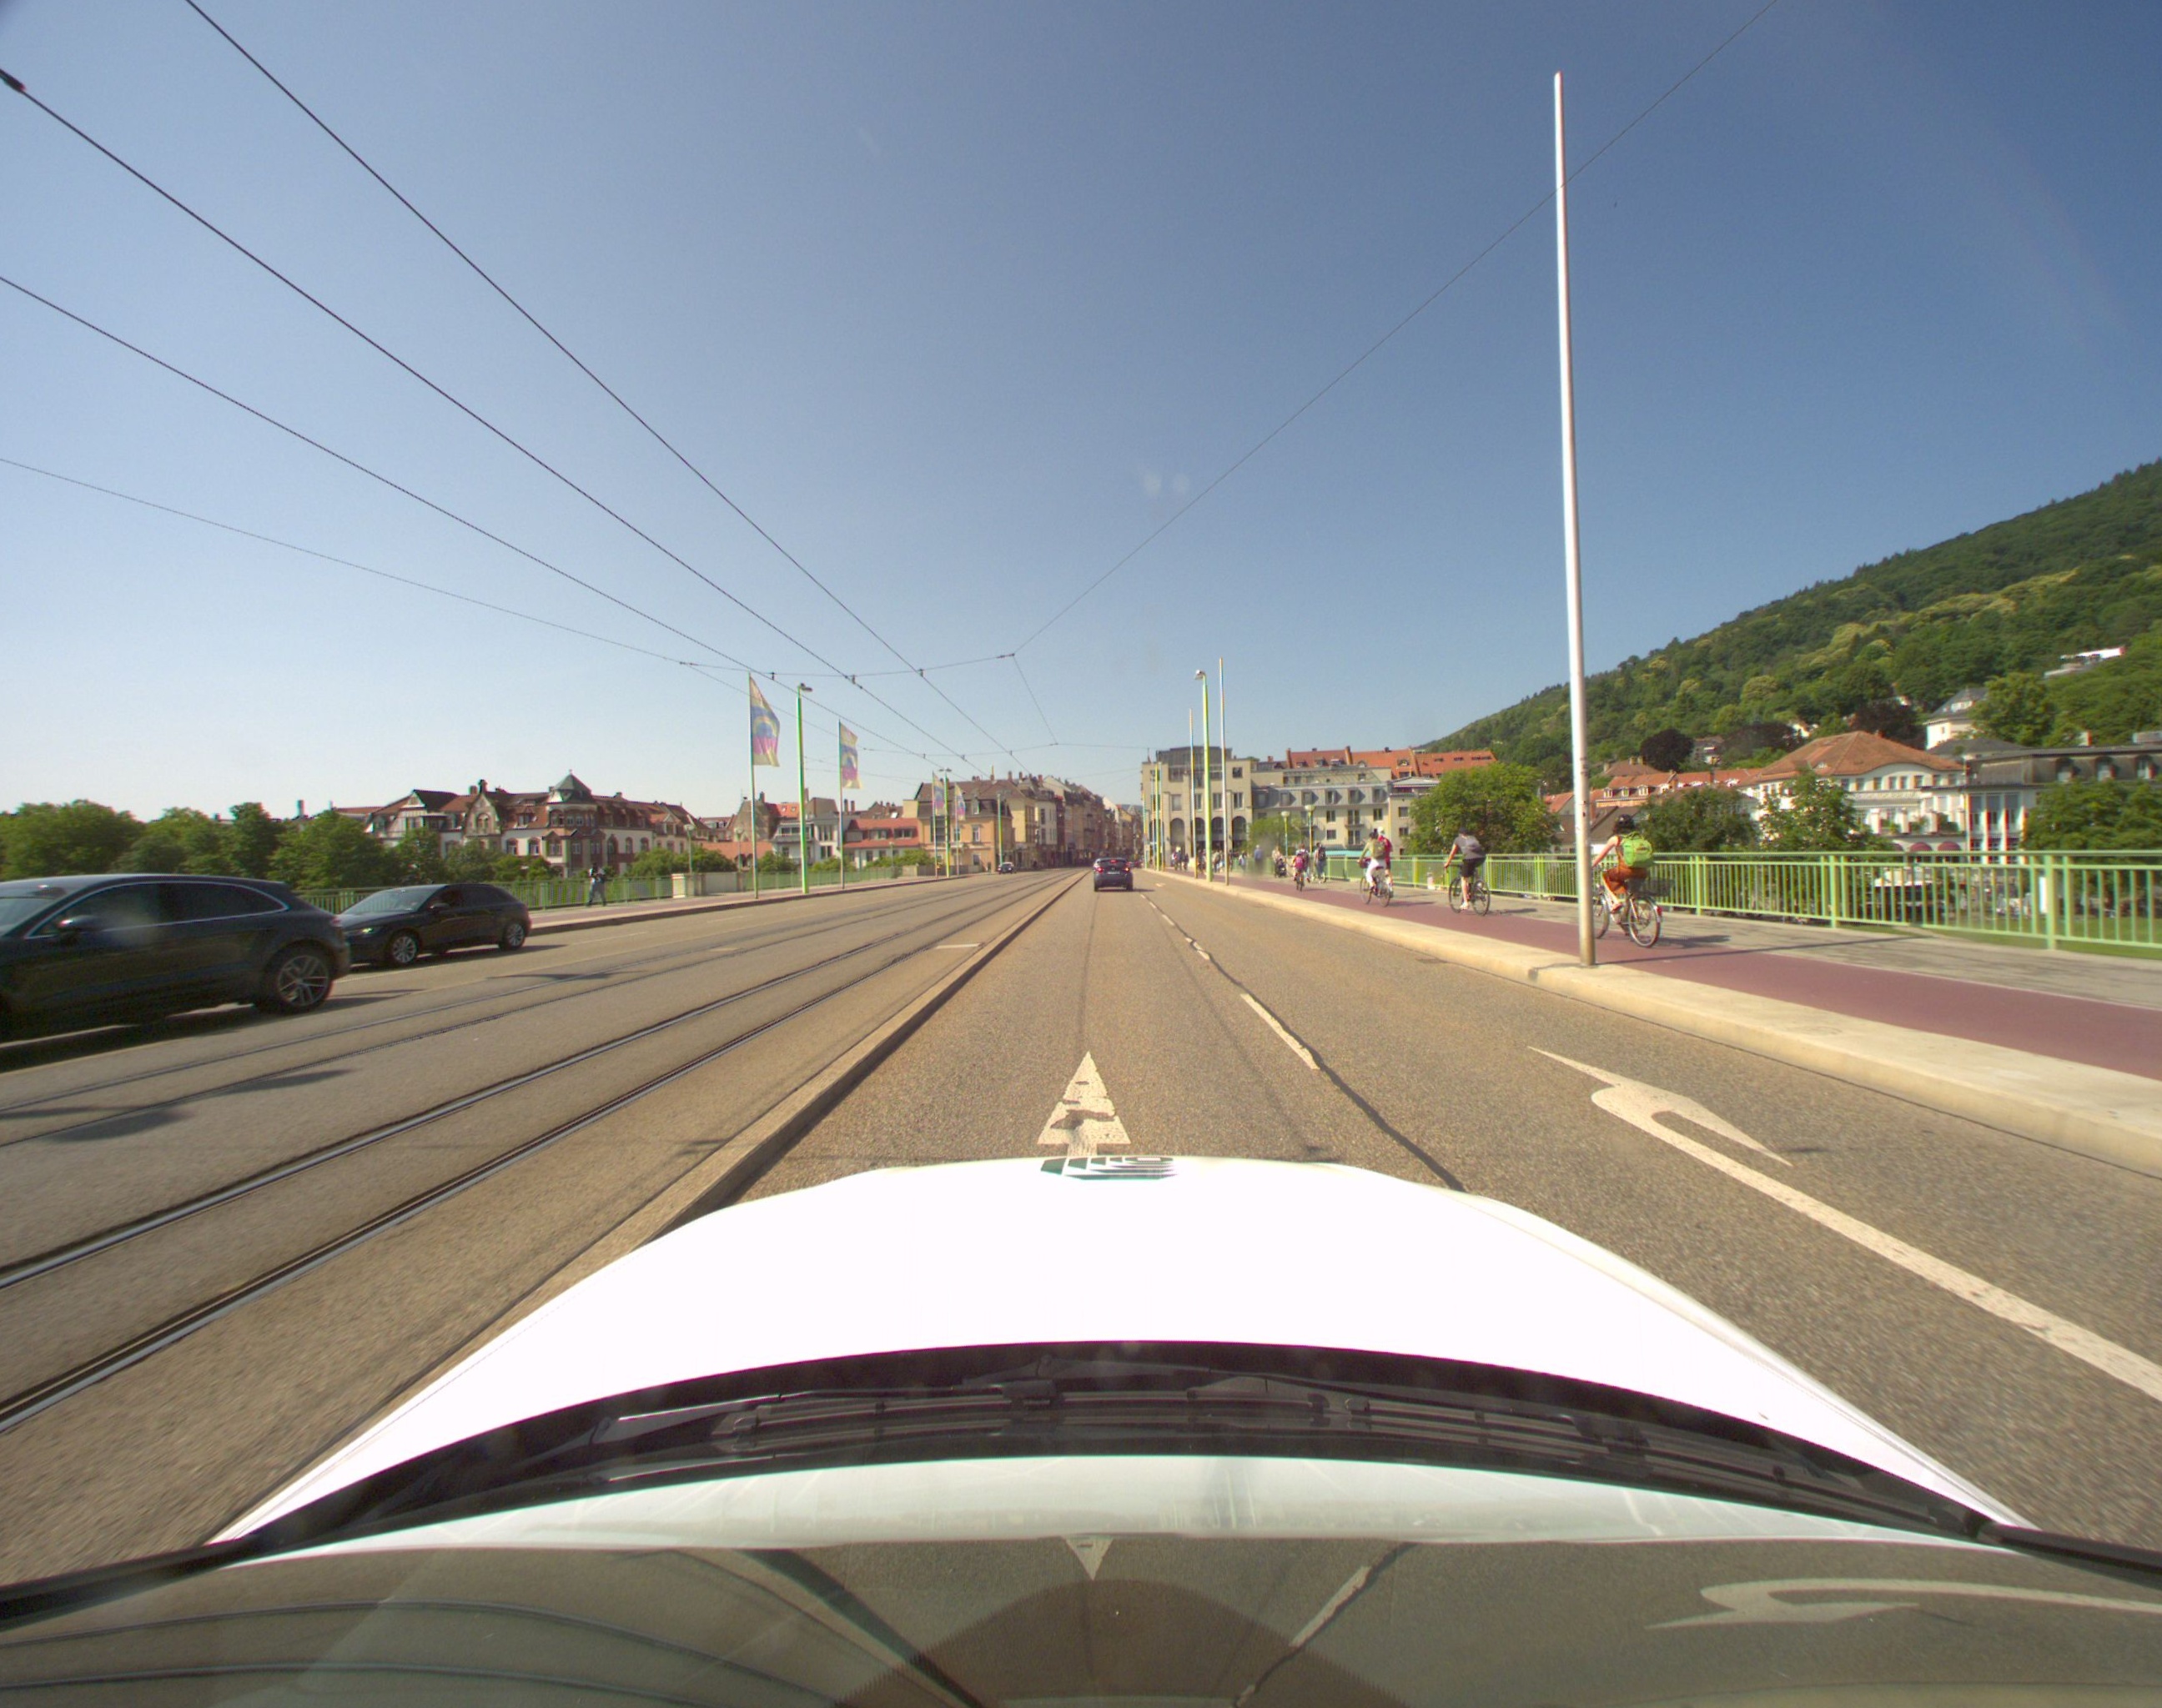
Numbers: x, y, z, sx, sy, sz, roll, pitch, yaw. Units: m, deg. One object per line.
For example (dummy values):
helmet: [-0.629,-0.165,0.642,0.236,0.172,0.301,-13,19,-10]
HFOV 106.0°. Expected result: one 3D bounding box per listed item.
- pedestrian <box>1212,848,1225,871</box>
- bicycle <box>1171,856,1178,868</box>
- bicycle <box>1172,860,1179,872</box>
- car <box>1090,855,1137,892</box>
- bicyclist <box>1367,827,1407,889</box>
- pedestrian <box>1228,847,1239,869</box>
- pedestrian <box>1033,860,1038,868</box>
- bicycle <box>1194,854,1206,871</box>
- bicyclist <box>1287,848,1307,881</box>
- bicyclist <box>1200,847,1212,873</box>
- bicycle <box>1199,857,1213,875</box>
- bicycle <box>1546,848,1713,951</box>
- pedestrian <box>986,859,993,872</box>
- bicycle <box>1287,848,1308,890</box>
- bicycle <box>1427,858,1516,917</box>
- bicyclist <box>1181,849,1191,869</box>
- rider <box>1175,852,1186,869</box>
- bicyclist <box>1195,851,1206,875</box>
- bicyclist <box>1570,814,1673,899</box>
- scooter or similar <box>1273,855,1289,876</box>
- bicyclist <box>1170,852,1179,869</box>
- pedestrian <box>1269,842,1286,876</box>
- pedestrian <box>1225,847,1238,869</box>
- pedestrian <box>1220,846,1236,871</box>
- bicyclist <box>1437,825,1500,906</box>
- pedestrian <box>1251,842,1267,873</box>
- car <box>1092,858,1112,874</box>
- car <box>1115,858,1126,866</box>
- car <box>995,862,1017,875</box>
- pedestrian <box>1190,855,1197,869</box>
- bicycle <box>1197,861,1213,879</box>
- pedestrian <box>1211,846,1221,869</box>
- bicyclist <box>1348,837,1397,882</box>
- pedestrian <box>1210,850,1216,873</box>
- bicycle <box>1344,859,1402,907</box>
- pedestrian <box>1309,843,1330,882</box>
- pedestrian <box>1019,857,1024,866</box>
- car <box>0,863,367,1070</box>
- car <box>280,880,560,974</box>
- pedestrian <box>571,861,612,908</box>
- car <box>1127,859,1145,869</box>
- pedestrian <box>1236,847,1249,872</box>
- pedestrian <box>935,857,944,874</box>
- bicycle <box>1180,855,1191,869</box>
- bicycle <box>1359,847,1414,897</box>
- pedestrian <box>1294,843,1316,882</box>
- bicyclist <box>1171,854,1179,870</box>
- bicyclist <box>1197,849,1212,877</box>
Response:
pedestrian: [10.260,0.424,60.692,0.831,1.689,0.869,-2,0,1]
bicycle: [9.392,0.797,81.815,0.663,1.178,2.031,-2,0,5]
bicycle: [9.103,1.144,78.534,0.663,1.049,2.031,-2,0,5]
car: [1.433,0.838,37.169,1.904,1.540,3.999,-1,1,-1]
bicyclist: [8.322,0.112,22.169,0.733,1.635,0.866,-2,0,-1]
pedestrian: [11.669,0.297,62.403,0.709,1.651,0.849,-2,0,3]
pedestrian: [-7.429,1.656,133.740,0.759,1.397,0.664,-2,0,3]
bicycle: [8.406,0.593,57.625,0.524,1.178,2.029,-2,0,0]
bicyclist: [7.386,0.342,27.877,0.595,1.101,0.855,-2,0,11]
bicyclist: [8.286,0.380,53.955,0.654,1.676,0.869,-2,0,0]
bicycle: [8.281,0.779,54.024,0.591,1.178,1.939,-2,0,0]
bicycle: [7.063,0.539,10.642,0.693,1.193,2.078,-2,0,-2]
pedestrian: [-12.248,1.516,108.750,0.759,1.665,0.664,-2,0,3]
bicycle: [7.395,0.499,27.902,0.531,1.367,2.223,-2,0,11]
bicycle: [7.581,0.612,15.932,0.616,1.037,2.266,-2,0,0]
bicyclist: [8.965,0.454,69.654,0.713,1.676,0.869,-2,0,0]
rider: [9.014,0.603,73.745,0.886,1.504,0.841,-2,0,0]
bicyclist: [8.430,0.616,57.600,0.625,1.689,0.869,-2,0,0]
bicyclist: [7.045,0.025,10.657,0.665,1.045,0.979,-2,0,-3]
scooter or similar: [10.449,0.599,42.501,0.586,1.069,0.865,-2,0,-1]
bicyclist: [9.395,0.649,81.881,0.792,1.676,0.870,-1,0,4]
pedestrian: [10.458,0.272,43.378,0.640,1.756,0.866,-2,0,-1]
pedestrian: [11.667,0.303,63.287,0.831,1.689,0.869,-2,0,1]
pedestrian: [10.651,0.332,59.115,0.926,1.761,0.938,-2,0,1]
bicyclist: [7.550,0.218,15.919,0.733,1.500,0.980,-2,0,0]
pedestrian: [10.514,0.215,48.064,0.710,1.810,0.848,-2,0,1]
car: [2.079,1.210,82.691,1.799,1.469,3.998,-3,0,-1]
car: [8.142,1.614,167.842,1.868,1.409,4.008,-2,0,7]
car: [-9.305,1.760,101.120,1.983,1.479,4.007,-2,0,6]
pedestrian: [12.257,0.842,88.597,0.655,1.451,0.643,-2,0,-5]
bicycle: [7.188,0.902,47.316,0.650,0.981,2.180,-3,-1,3]
pedestrian: [10.299,0.274,62.229,0.526,1.748,0.728,-4,-1,1]
bicyclist: [6.895,0.126,19.310,0.733,1.030,1.175,-2,0,0]
pedestrian: [10.354,0.598,63.949,0.366,1.794,0.604,0,-1,1]
bicycle: [6.919,0.659,19.368,0.616,1.037,2.051,-2,0,0]
pedestrian: [9.809,0.341,33.514,0.597,1.586,0.866,-2,0,-1]
pedestrian: [-9.853,1.200,135.297,0.759,1.397,0.664,-2,0,3]
car: [-9.644,0.966,7.618,1.987,1.599,4.338,-3,0,1]
car: [-12.434,1.294,15.785,1.752,1.362,4.384,-2,0,1]
pedestrian: [-18.573,1.151,30.952,0.827,1.722,1.094,-2,0,2]
car: [9.197,1.634,135.438,1.788,1.469,4.022,-3,0,23]
pedestrian: [9.744,0.318,49.204,0.611,1.465,0.848,-2,0,1]
pedestrian: [-15.676,1.287,90.433,0.759,1.786,0.664,-2,0,3]
bicycle: [8.973,0.671,69.696,0.664,1.178,2.029,-2,0,0]
bicycle: [8.326,0.458,22.268,0.616,1.271,2.215,-2,0,0]
pedestrian: [9.202,0.345,33.502,0.597,1.586,0.866,-2,0,-1]
bicyclist: [9.097,0.794,78.712,0.648,1.529,0.976,-2,0,4]
bicyclist: [7.163,0.533,47.257,0.650,1.567,1.339,-3,-1,3]
